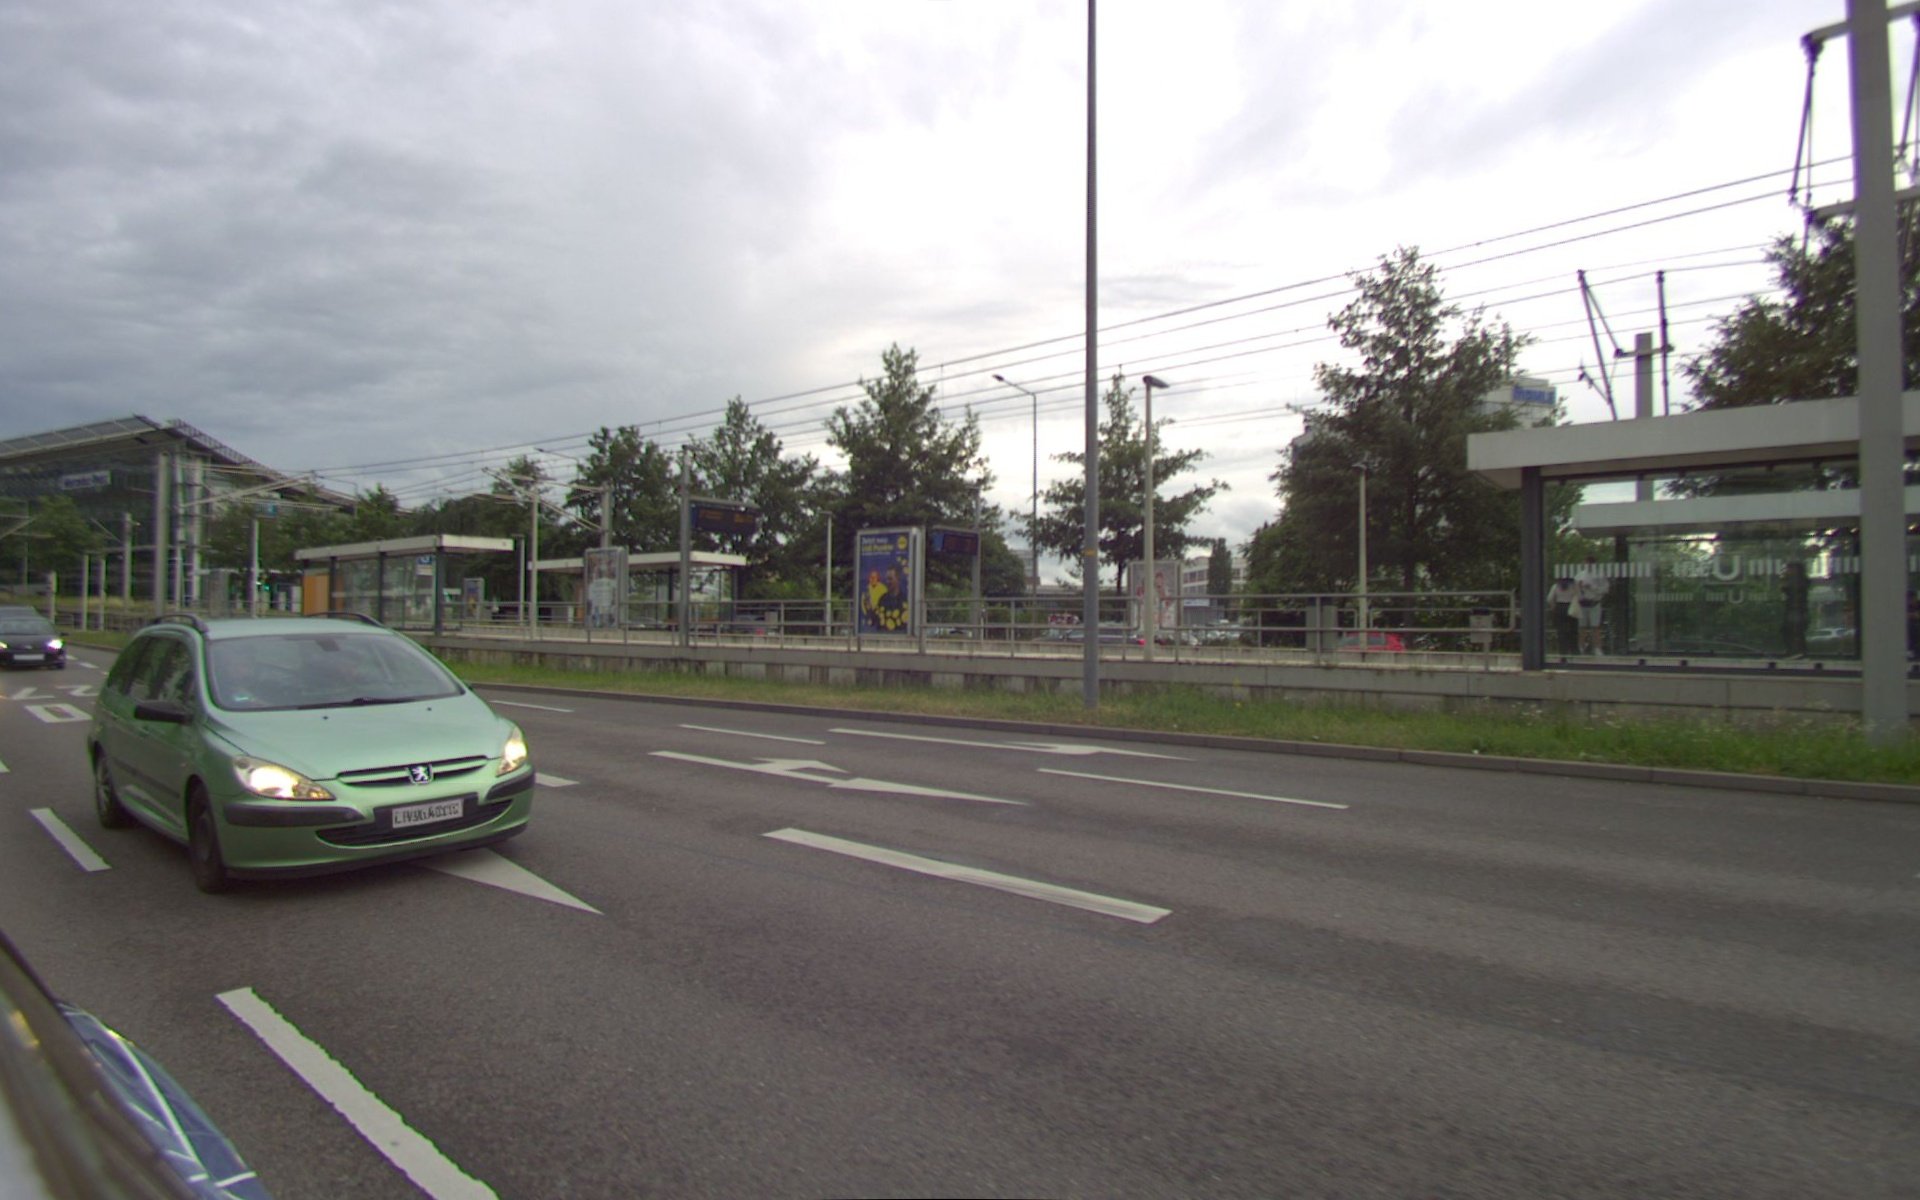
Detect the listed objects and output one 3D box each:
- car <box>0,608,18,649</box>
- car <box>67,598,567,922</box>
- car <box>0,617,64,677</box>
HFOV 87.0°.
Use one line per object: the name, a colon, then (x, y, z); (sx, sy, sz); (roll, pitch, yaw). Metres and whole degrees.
car: (-39.789, 1.129, 40.928); (4.184, 1.604, 1.711); (0, 1, 36)
car: (-4.515, 0.746, 6.785); (4.402, 1.479, 1.677); (0, 1, 41)
car: (-27.007, 1.308, 29.009); (3.905, 1.534, 1.674); (0, 1, 44)
